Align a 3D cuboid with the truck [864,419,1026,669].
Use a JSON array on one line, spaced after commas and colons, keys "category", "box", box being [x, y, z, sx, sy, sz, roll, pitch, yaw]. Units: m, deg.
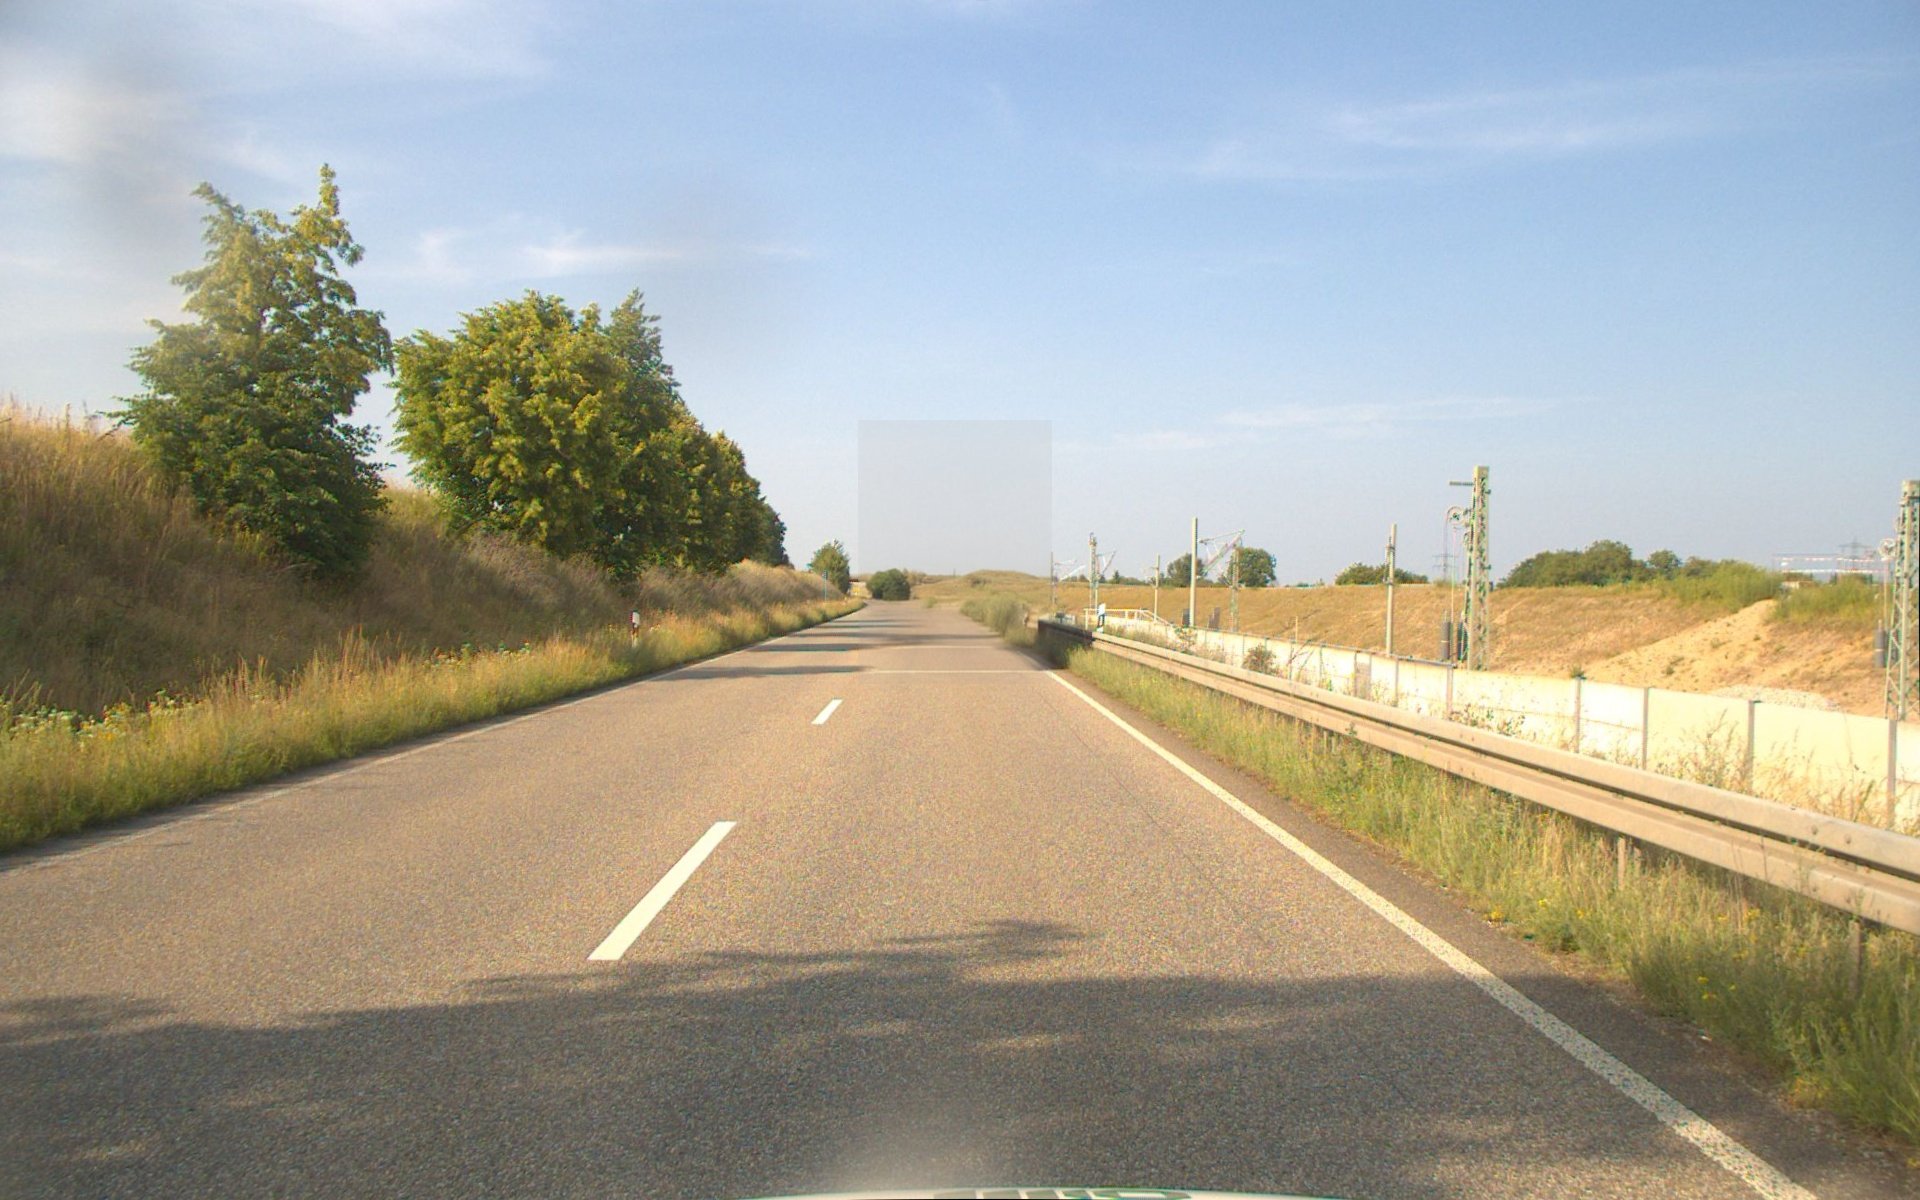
[{"category": "truck", "box": [-0.264, -1.120, 35.868, 3.088, 4.770, 8.441, 0, 0, 0]}]
